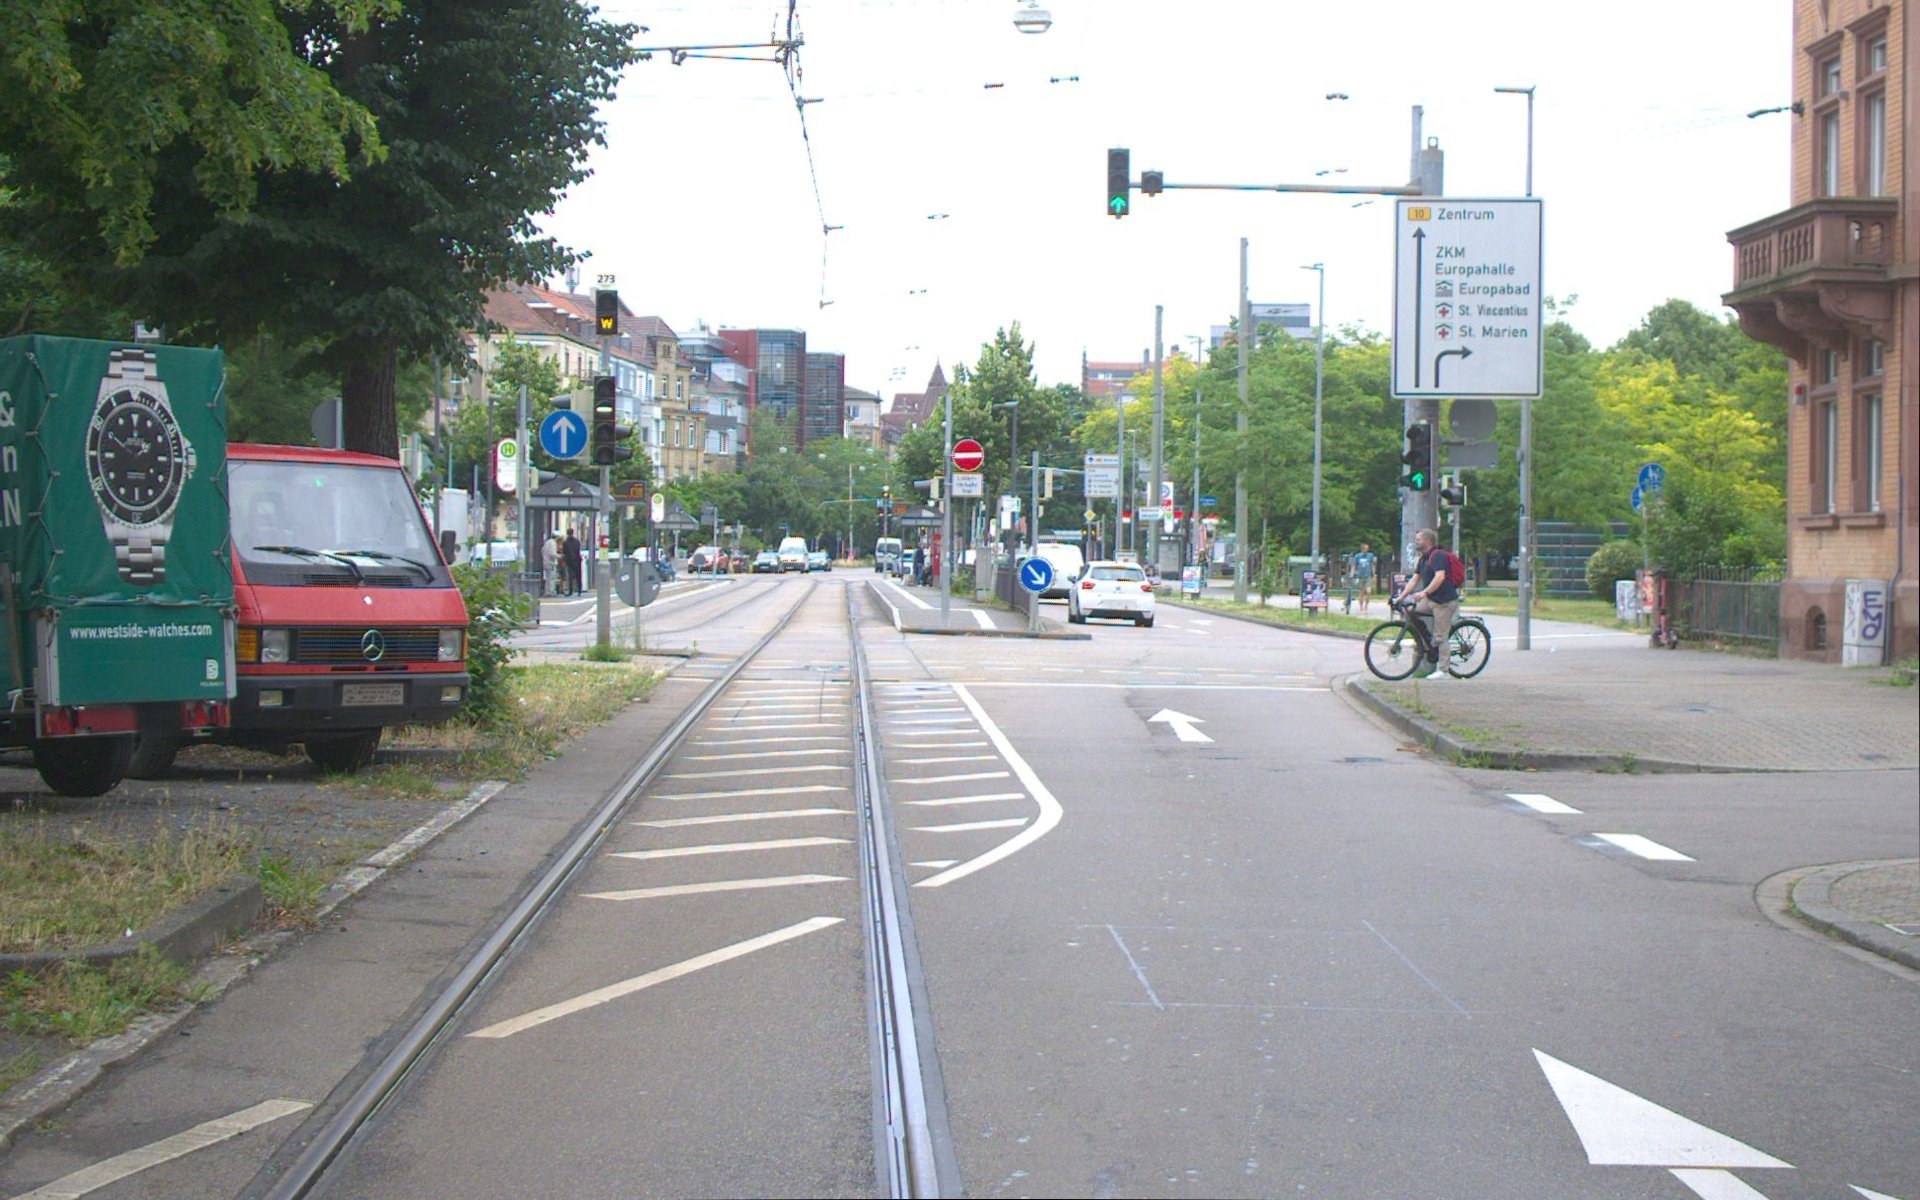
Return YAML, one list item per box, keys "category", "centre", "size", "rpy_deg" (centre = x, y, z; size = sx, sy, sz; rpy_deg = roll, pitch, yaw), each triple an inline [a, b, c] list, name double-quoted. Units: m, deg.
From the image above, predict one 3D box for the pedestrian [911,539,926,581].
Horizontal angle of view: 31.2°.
- category: "pedestrian"
  centre: [-1.524, -1.483, 126.948]
  size: [0.532, 1.552, 0.570]
  rpy_deg: [1, 1, 2]

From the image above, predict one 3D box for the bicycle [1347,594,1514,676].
- category: "bicycle"
  centre: [5.527, 0.406, 40.324]
  size: [1.862, 0.921, 0.796]
  rpy_deg: [1, 1, -34]

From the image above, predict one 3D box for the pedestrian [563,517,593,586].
- category: "pedestrian"
  centre: [-9.589, -1.223, 86.329]
  size: [0.699, 1.709, 0.699]
  rpy_deg: [0, 1, -10]

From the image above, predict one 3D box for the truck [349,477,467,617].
- category: "truck"
  centre: [-13.100, -1.250, 81.955]
  size: [2.184, 3.146, 7.333]
  rpy_deg: [1, 0, -5]

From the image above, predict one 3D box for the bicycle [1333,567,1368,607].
- category: "bicycle"
  centre: [10.250, -0.347, 90.375]
  size: [0.654, 0.999, 1.779]
  rpy_deg: [1, 1, -2]

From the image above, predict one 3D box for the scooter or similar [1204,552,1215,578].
- category: "scooter or similar"
  centre: [11.019, -1.561, 152.085]
  size: [0.376, 1.137, 1.199]
  rpy_deg: [1, 1, 9]

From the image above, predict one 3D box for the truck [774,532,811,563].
- category: "truck"
  centre: [-11.448, -3.582, 235.462]
  size: [1.788, 2.025, 5.395]
  rpy_deg: [1, 1, 5]

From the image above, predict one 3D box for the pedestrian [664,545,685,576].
- category: "pedestrian"
  centre: [-11.906, -1.637, 143.332]
  size: [0.864, 1.262, 0.694]
  rpy_deg: [0, 1, -4]

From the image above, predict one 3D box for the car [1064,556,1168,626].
- category: "car"
  centre: [3.469, -0.217, 77.088]
  size: [1.782, 1.467, 4.011]
  rpy_deg: [1, 1, -5]

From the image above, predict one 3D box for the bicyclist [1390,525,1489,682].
- category: "bicyclist"
  centre: [5.594, 0.037, 40.099]
  size: [0.679, 1.789, 0.891]
  rpy_deg: [1, 1, -33]

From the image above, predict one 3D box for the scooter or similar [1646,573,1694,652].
- category: "scooter or similar"
  centre: [10.462, 0.175, 50.688]
  size: [0.376, 1.137, 1.200]
  rpy_deg: [0, 1, -4]

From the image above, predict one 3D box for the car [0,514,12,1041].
- category: "car"
  centre: [-4.647, 0.450, 10.135]
  size: [3.860, 1.458, 1.686]
  rpy_deg: [2, 1, 41]

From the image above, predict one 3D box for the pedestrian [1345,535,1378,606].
- category: "pedestrian"
  centre: [10.547, -0.773, 90.314]
  size: [0.739, 1.863, 0.682]
  rpy_deg: [0, 1, -3]

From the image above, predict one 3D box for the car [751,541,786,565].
- category: "car"
  centre: [-12.415, -3.017, 222.866]
  size: [1.770, 1.488, 3.886]
  rpy_deg: [1, 1, 5]

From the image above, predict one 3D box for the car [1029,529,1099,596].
- category: "car"
  centre: [3.134, -1.160, 103.972]
  size: [1.782, 1.956, 4.383]
  rpy_deg: [1, 1, -2]

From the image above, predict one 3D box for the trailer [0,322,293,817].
- category: "trailer"
  centre: [-5.539, -0.188, 17.987]
  size: [3.666, 2.336, 1.928]
  rpy_deg: [1, 1, 31]

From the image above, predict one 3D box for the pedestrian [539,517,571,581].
- category: "pedestrian"
  centre: [-10.617, -1.339, 90.122]
  size: [0.768, 1.654, 1.025]
  rpy_deg: [0, 1, -4]

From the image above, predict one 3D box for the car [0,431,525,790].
- category: "car"
  centre: [-5.080, 0.003, 21.029]
  size: [4.762, 1.967, 1.955]
  rpy_deg: [1, 1, 37]

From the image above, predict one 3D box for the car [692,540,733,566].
- category: "car"
  centre: [-14.354, -2.706, 199.300]
  size: [1.770, 1.488, 3.886]
  rpy_deg: [1, 1, 5]

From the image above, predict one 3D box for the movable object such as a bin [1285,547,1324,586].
- category: "movable object such as a bin"
  centre: [12.623, -1.226, 125.891]
  size: [1.282, 1.385, 1.159]
  rpy_deg: [1, 0, -1]

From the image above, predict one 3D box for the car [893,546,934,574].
- category: "car"
  centre: [-2.546, -2.165, 188.467]
  size: [1.770, 1.488, 3.886]
  rpy_deg: [1, 1, 6]

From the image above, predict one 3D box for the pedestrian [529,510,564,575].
- category: "pedestrian"
  centre: [-10.467, -1.453, 87.076]
  size: [0.678, 1.618, 0.633]
  rpy_deg: [1, 1, 16]

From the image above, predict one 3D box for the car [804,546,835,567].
- category: "car"
  centre: [-10.332, -3.218, 253.282]
  size: [1.770, 1.488, 3.886]
  rpy_deg: [1, 1, 5]
